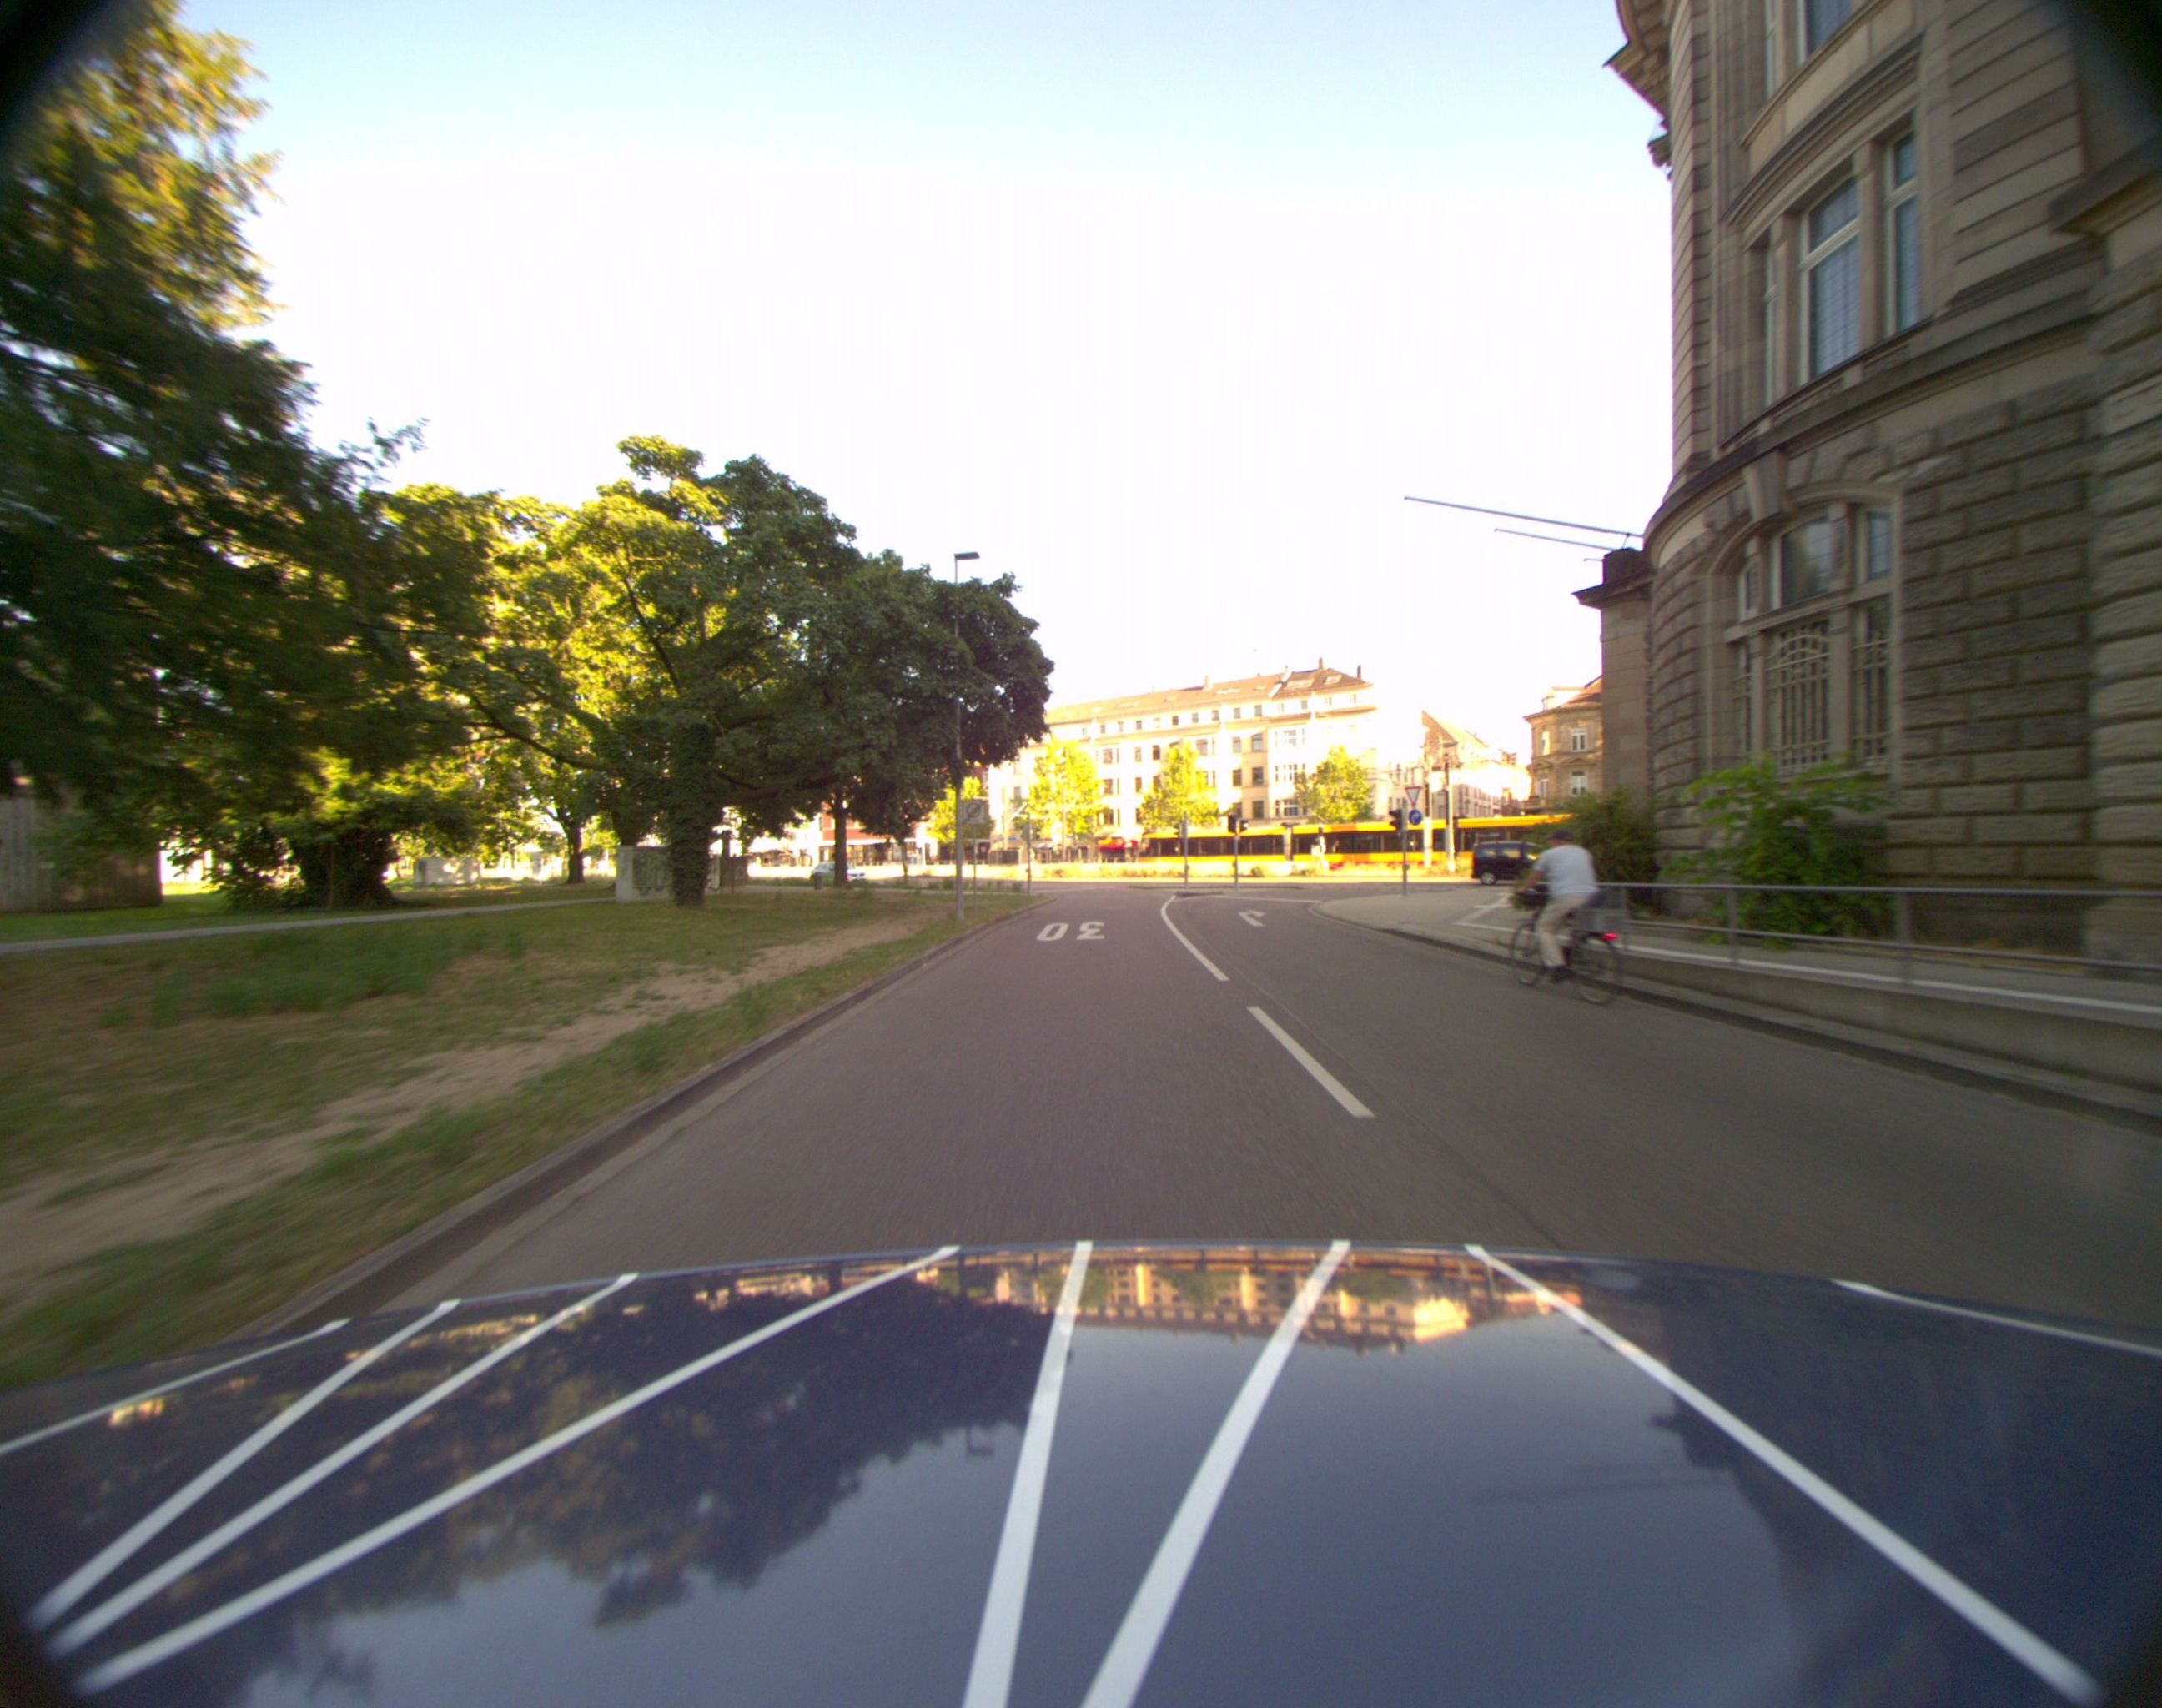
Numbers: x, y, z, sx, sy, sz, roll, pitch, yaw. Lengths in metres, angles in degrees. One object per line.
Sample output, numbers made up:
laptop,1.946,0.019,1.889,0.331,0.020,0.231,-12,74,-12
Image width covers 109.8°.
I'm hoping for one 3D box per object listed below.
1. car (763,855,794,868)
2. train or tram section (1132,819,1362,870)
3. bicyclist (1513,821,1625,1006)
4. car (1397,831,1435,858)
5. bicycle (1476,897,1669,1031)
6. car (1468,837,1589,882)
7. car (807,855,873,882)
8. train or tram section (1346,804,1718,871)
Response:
car,-45.551,1.171,114.377,4.729,1.787,2.004,-1,0,35
train or tram section,12.375,-0.544,58.904,17.428,3.538,3.128,-1,0,34
bicyclist,4.950,0.577,7.750,0.646,1.796,0.780,-1,1,2
car,30.016,-0.804,67.971,2.464,2.253,7.305,-1,0,29
bicycle,4.959,1.048,7.880,0.664,1.064,2.153,-1,0,2
car,18.273,0.220,31.078,4.136,1.722,1.774,-1,1,33
car,-15.178,0.879,47.774,4.266,1.529,1.838,0,2,39
train or tram section,27.210,-0.779,47.950,19.875,3.538,3.129,-1,0,40
